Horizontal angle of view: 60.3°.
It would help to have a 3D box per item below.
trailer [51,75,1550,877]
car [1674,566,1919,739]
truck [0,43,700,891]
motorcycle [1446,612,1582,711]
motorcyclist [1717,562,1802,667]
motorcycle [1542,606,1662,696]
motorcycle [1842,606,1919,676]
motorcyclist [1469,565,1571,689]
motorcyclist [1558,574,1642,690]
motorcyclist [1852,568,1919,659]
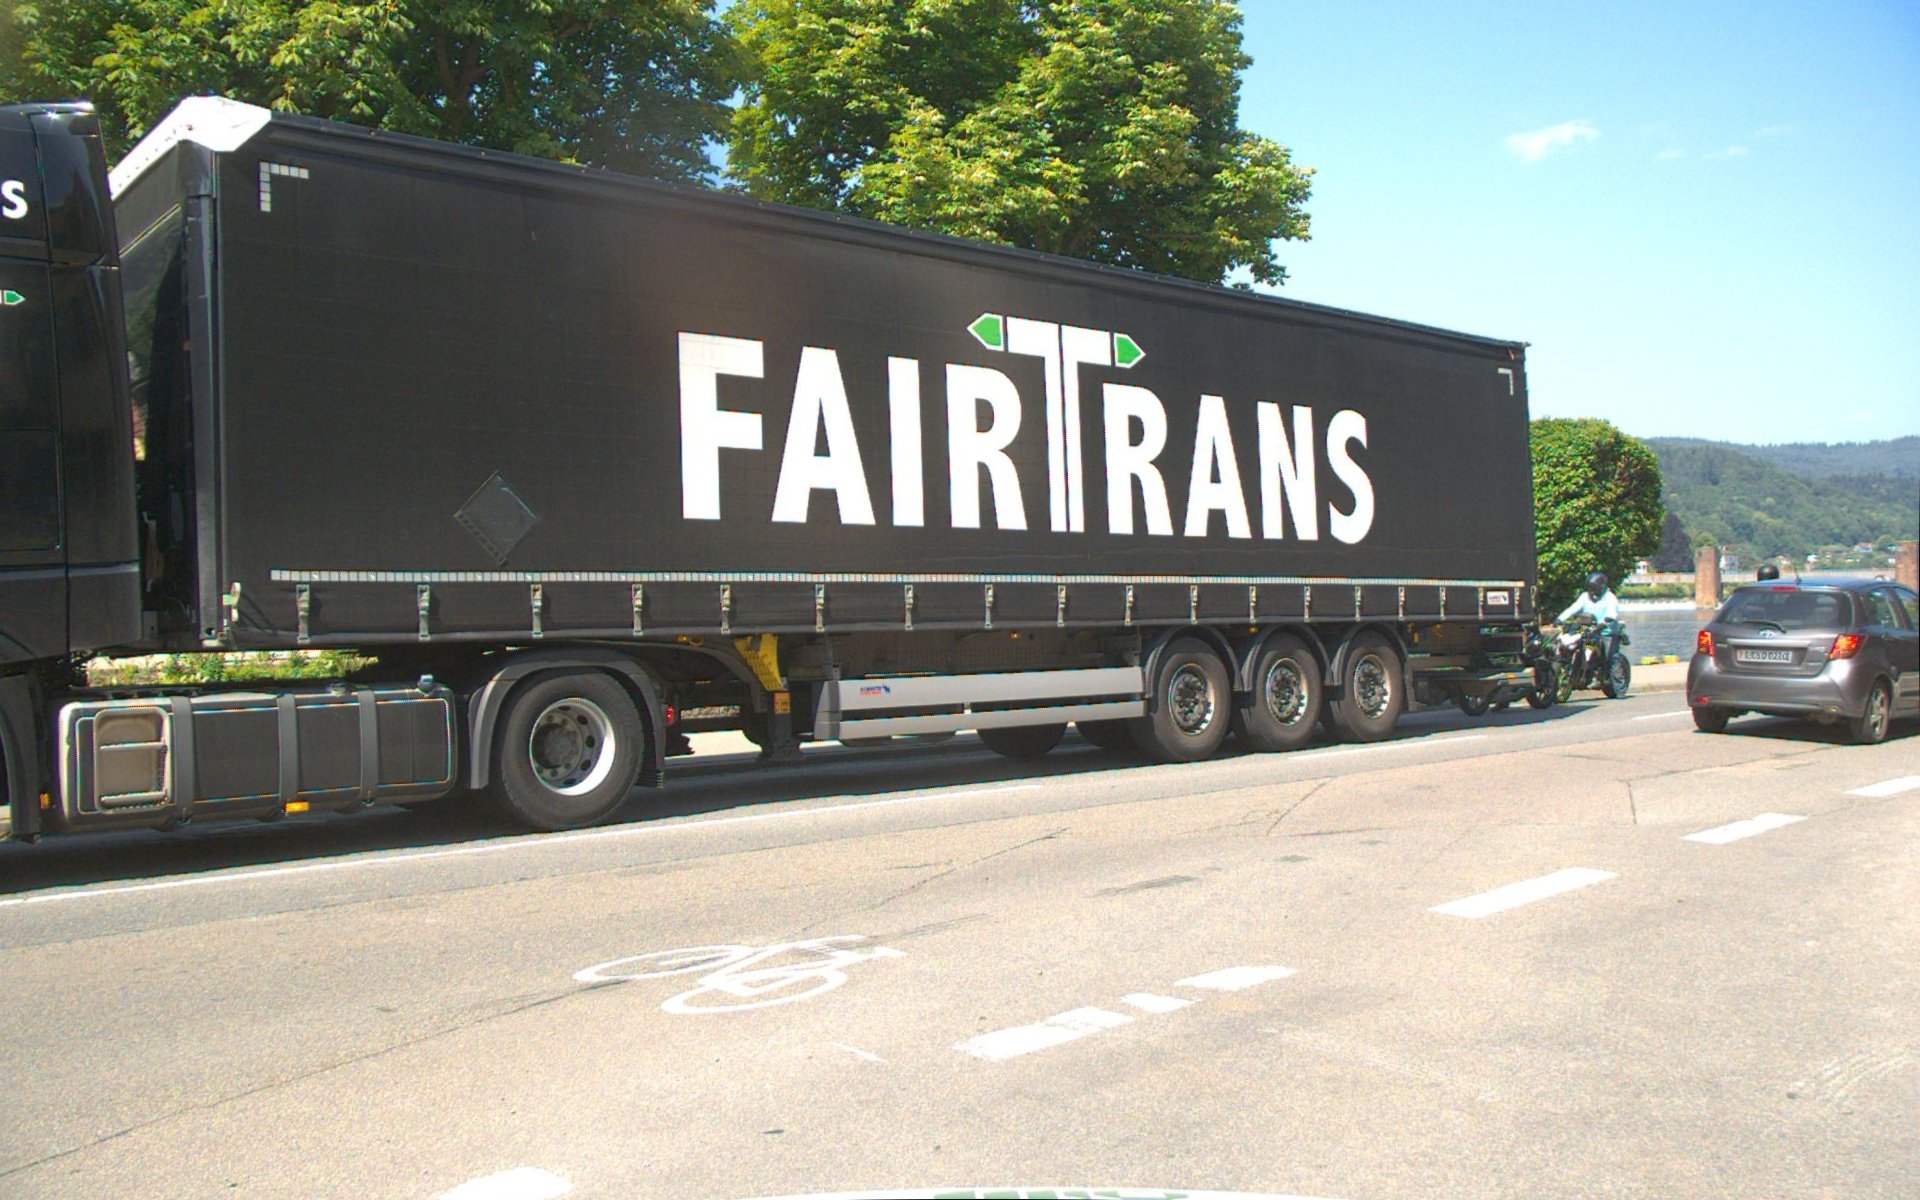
[{"bbox_3d":[0.161,-0.697,14.167,13.648,4.176,2.800,-1,-2,-41],"label":"trailer"},{"bbox_3d":[8.817,0.458,16.504,3.849,1.525,1.701,-1,0,-43],"label":"car"},{"bbox_3d":[-4.839,-0.621,9.771,5.880,4.143,2.797,-1,-2,-41],"label":"truck"},{"bbox_3d":[6.890,0.746,20.521,2.075,1.143,0.625,-1,-2,-42],"label":"motorcycle"},{"bbox_3d":[10.858,0.192,22.465,0.793,1.390,0.777,0,-1,-41],"label":"motorcyclist"},{"bbox_3d":[8.802,0.681,22.621,2.075,1.143,0.625,-1,-2,-42],"label":"motorcycle"},{"bbox_3d":[14.549,0.635,25.961,1.799,1.042,0.649,-1,-1,-42],"label":"motorcycle"},{"bbox_3d":[6.966,0.335,20.570,0.983,1.486,0.769,-1,-2,-41],"label":"motorcyclist"},{"bbox_3d":[8.731,0.431,22.562,0.983,1.551,0.655,-1,-2,-42],"label":"motorcyclist"},{"bbox_3d":[14.566,0.203,25.960,0.928,1.390,0.709,-1,-1,-41],"label":"motorcyclist"}]
